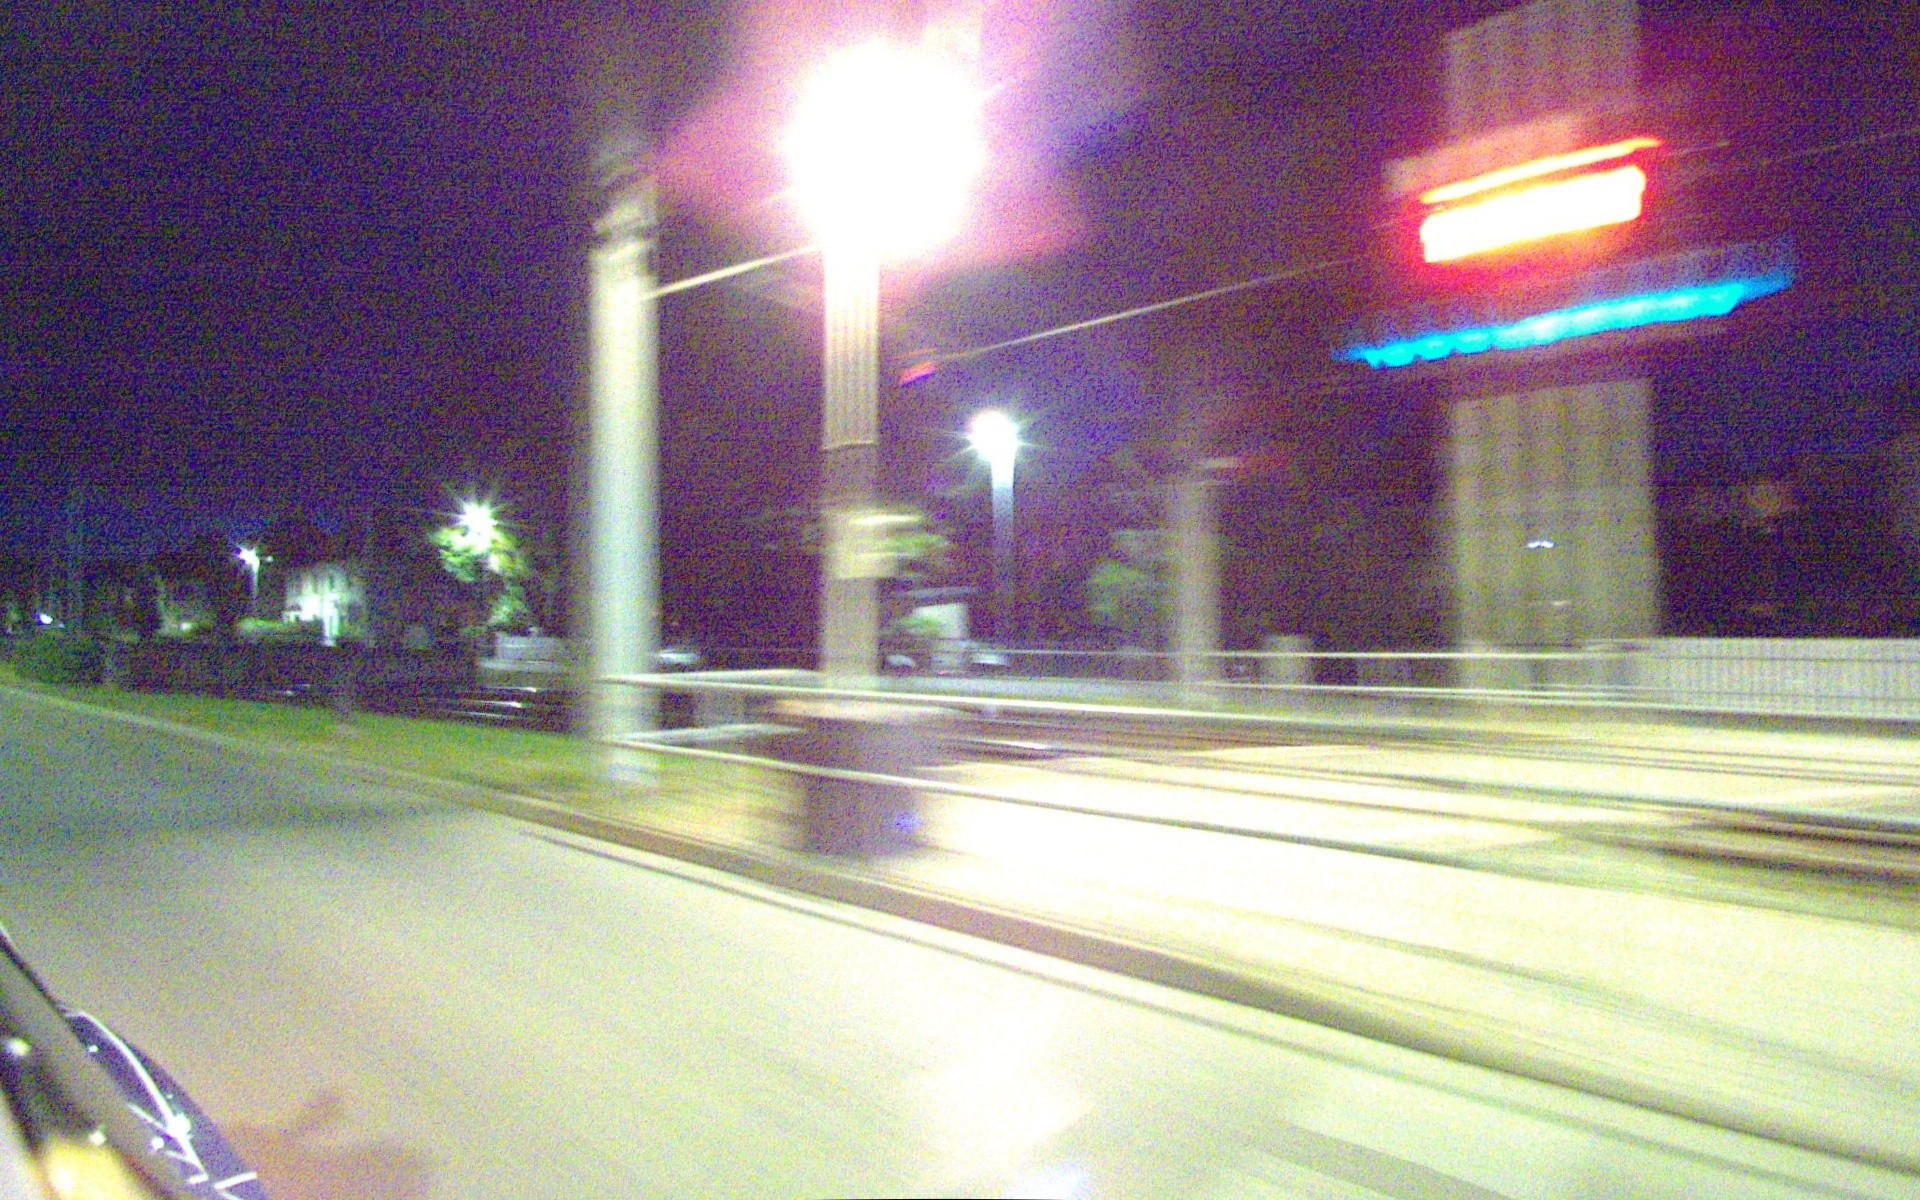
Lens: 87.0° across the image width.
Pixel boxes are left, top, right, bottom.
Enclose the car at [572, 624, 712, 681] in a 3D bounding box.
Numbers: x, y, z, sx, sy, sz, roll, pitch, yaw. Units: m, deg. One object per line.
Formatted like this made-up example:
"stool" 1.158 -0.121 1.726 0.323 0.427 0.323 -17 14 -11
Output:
"car" -9.124 1.475 28.912 4.090 1.516 1.847 -2 -3 39
